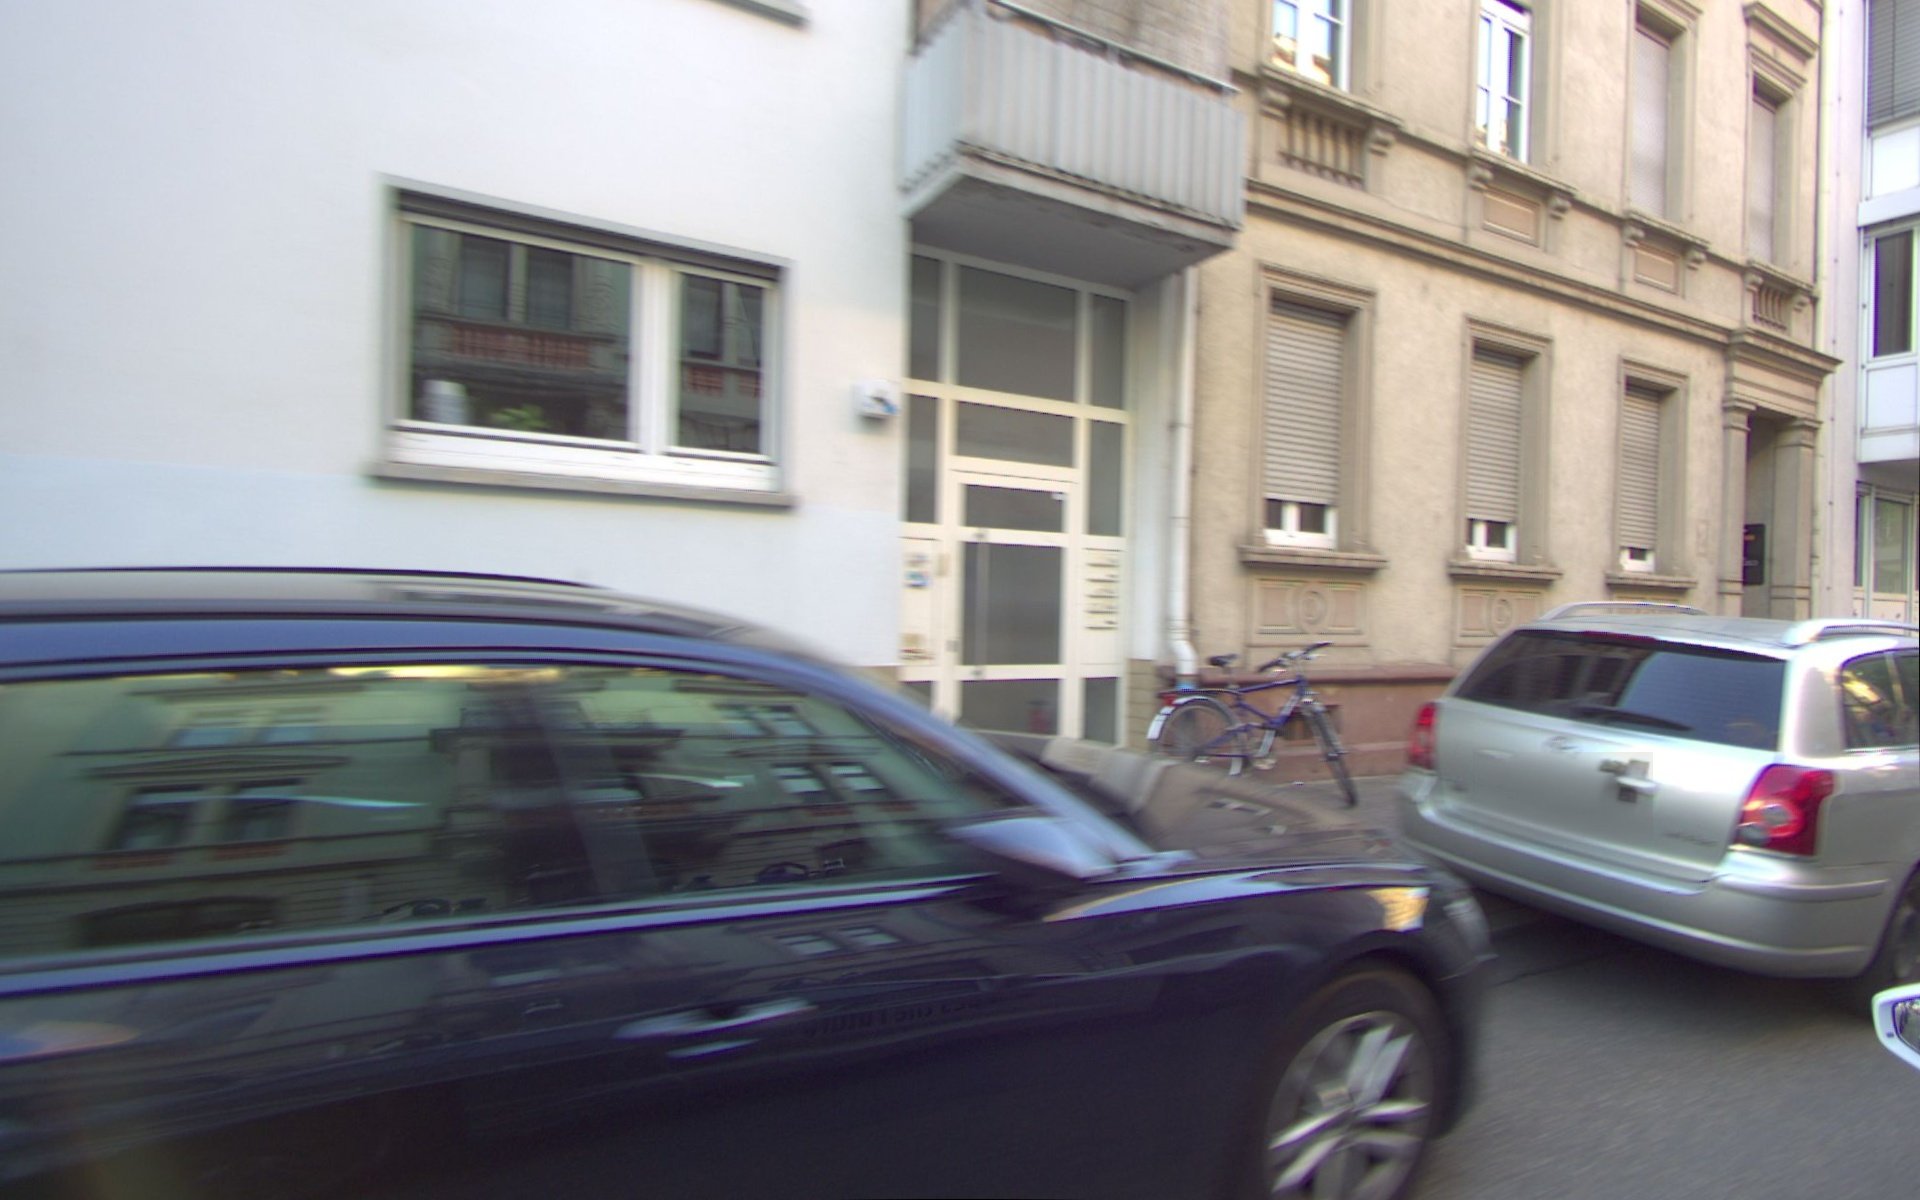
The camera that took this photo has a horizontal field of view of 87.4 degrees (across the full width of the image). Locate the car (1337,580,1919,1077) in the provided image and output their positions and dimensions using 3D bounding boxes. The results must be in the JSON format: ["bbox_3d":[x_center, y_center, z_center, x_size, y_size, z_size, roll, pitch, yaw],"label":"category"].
[{"bbox_3d":[4.091,0.752,5.063,4.384,1.560,1.781,1,0,-31],"label":"car"}]

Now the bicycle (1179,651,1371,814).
[{"bbox_3d":[2.208,0.879,6.975,1.525,1.022,0.290,1,0,-29],"label":"bicycle"}]

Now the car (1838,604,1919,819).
[{"bbox_3d":[9.069,0.869,8.167,4.024,1.597,1.781,1,0,-31],"label":"car"}]

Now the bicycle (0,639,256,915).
[{"bbox_3d":[-3.670,0.670,3.886,1.528,1.022,0.290,1,0,-35],"label":"bicycle"}]

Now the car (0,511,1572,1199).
[{"bbox_3d":[-0.776,0.694,2.284,4.440,1.560,1.782,1,0,-30],"label":"car"}]
